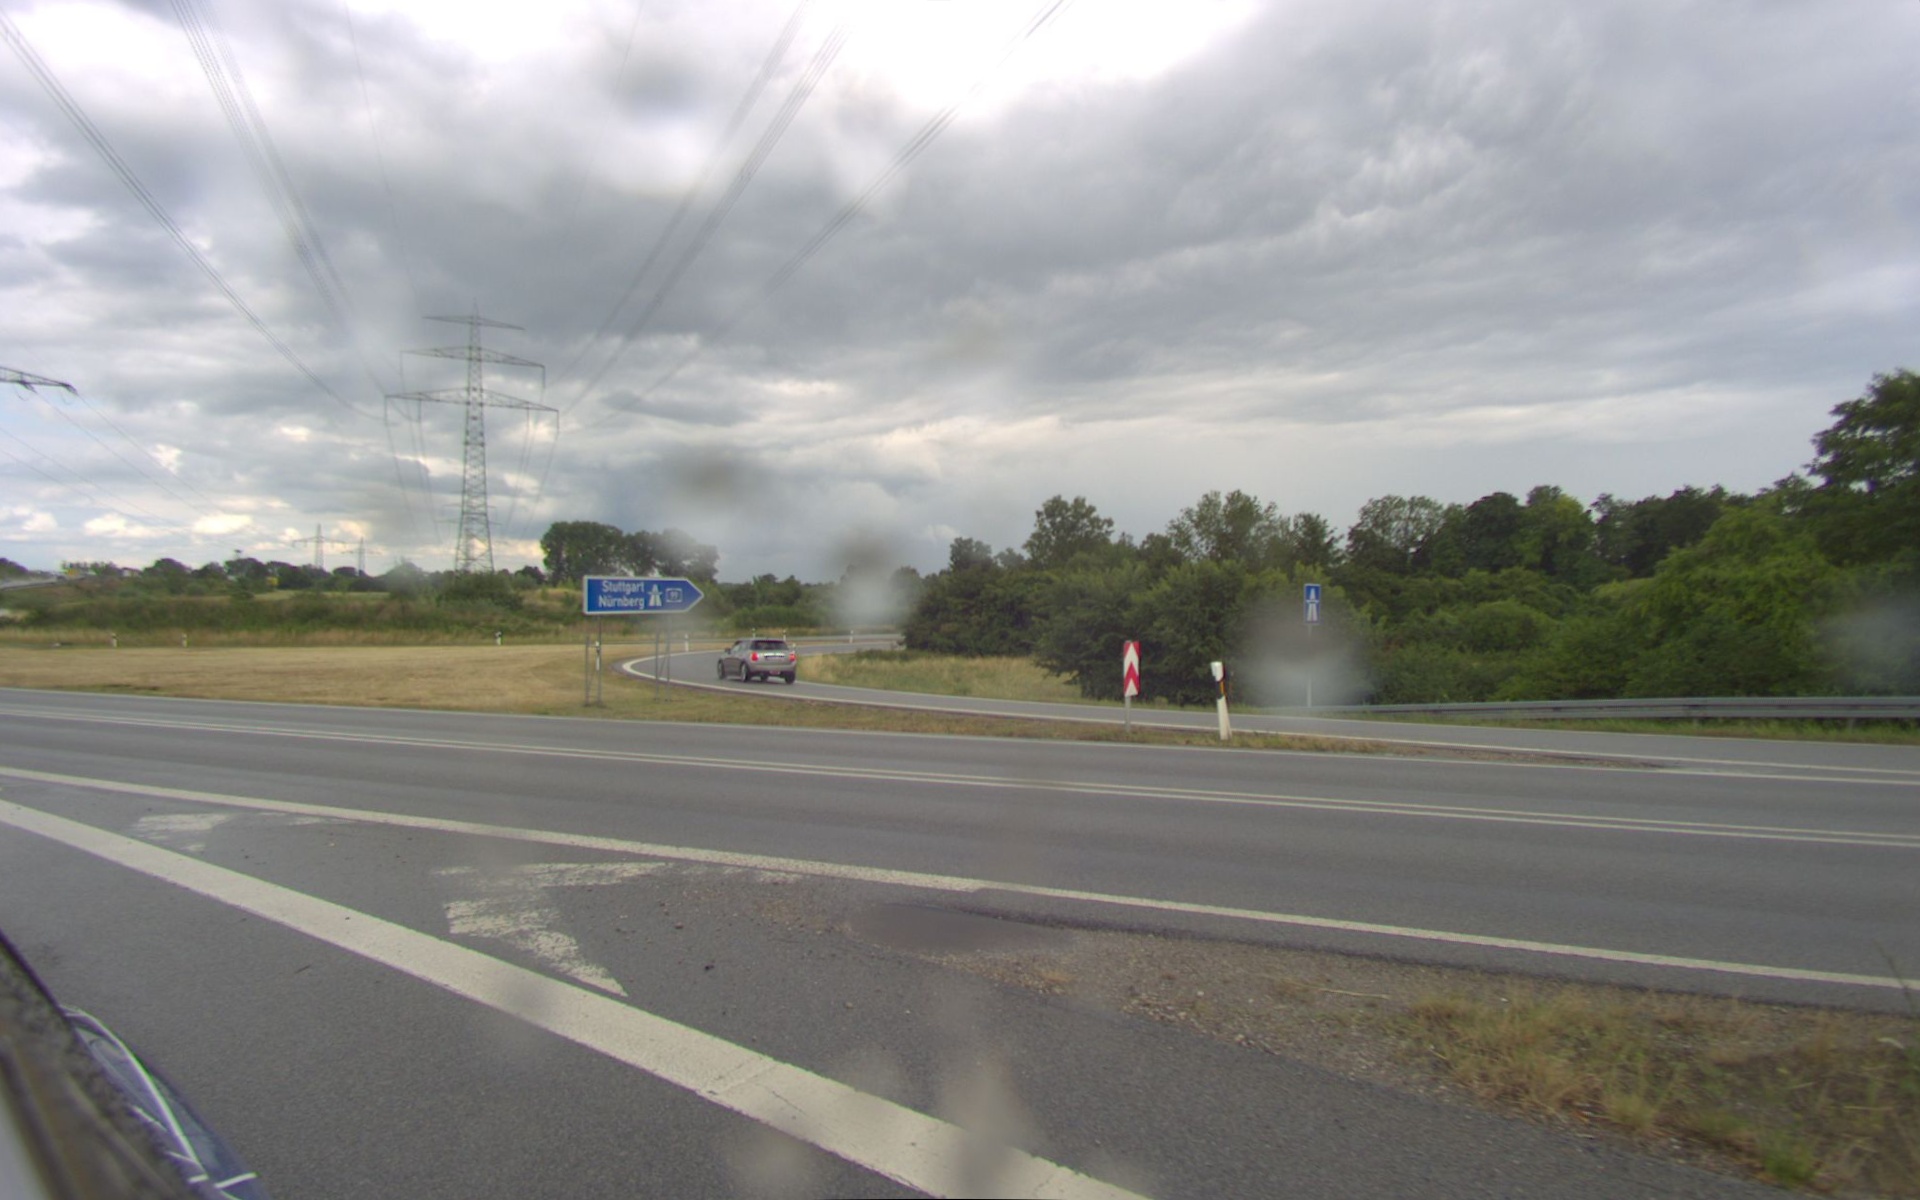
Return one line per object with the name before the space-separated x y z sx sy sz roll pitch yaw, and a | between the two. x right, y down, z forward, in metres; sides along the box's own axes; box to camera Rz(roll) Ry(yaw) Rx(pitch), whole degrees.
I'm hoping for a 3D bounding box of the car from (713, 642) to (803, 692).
car | -6.687 2.150 33.196 1.712 1.449 3.784 2 -2 -31
